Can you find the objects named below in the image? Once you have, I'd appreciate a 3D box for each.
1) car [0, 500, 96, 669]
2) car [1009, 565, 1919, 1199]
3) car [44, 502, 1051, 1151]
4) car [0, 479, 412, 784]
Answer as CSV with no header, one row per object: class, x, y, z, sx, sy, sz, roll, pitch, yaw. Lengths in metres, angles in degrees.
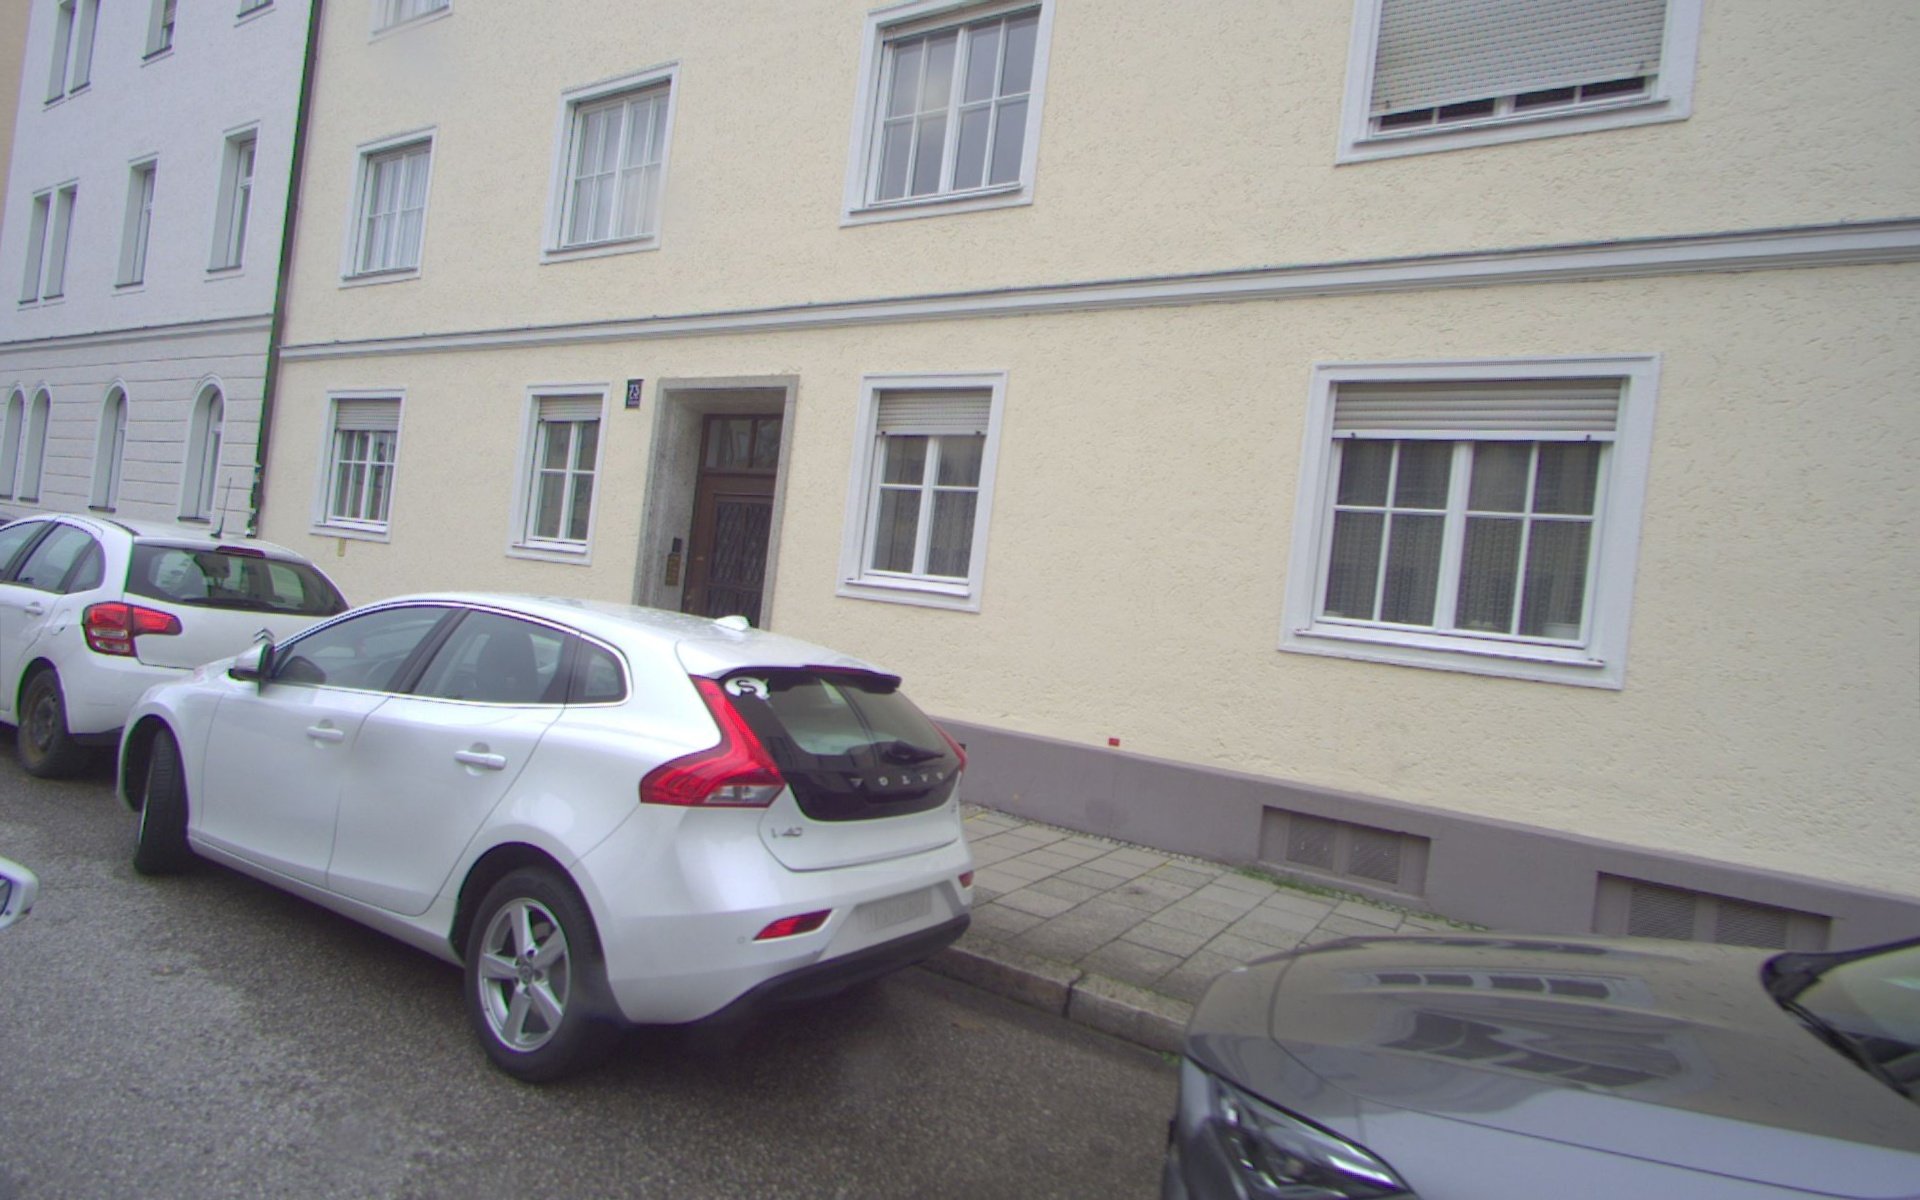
car,-10.342,-0.372,9.645,4.116,1.466,1.728,7,-2,30
car,2.522,0.963,1.474,4.537,1.446,1.777,7,-2,31
car,-1.951,0.553,4.372,4.221,1.446,1.729,7,-2,31
car,-5.875,0.082,6.991,3.925,1.561,1.655,7,-2,29
